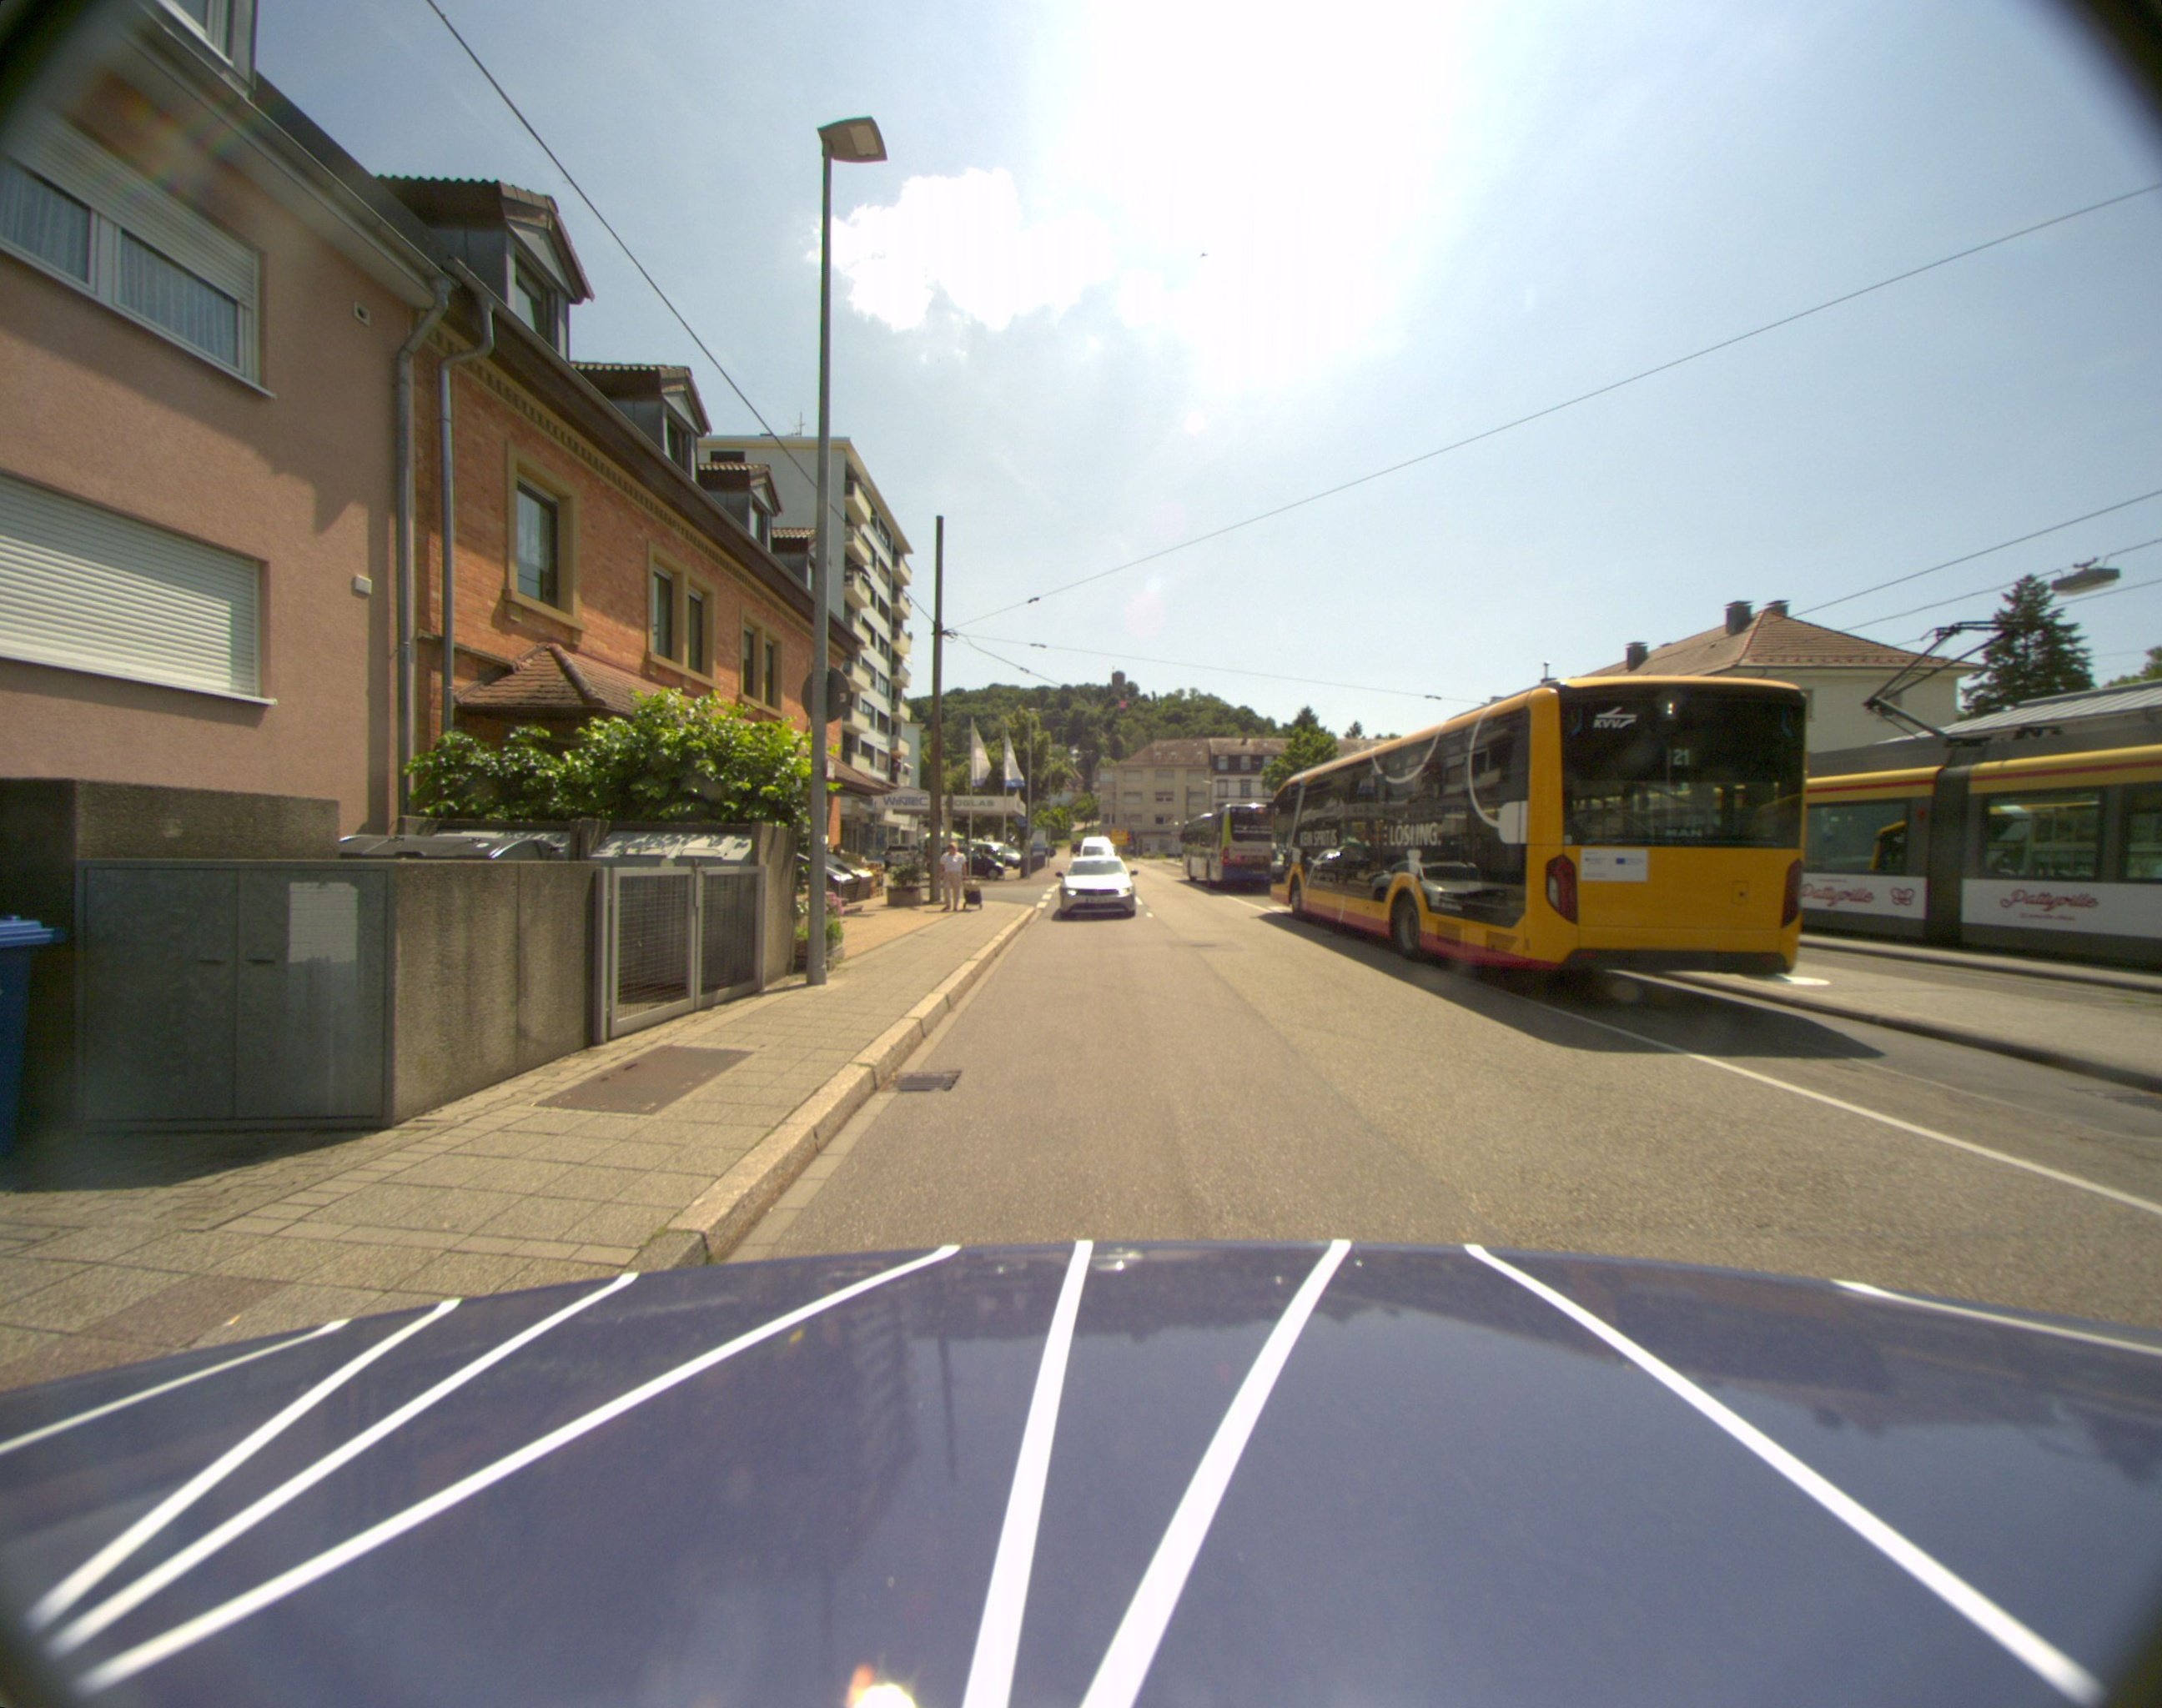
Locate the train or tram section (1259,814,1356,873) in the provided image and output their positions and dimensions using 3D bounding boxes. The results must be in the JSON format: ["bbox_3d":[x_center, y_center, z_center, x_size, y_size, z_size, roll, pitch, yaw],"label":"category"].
[{"bbox_3d":[15.136,-0.735,52.099,2.970,3.475,12.711,-1,1,1],"label":"train or tram section"}]

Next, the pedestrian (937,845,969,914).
[{"bbox_3d":[-3.066,0.608,18.287,0.707,1.632,0.659,2,0,-8],"label":"pedestrian"}]

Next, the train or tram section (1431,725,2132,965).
[{"bbox_3d":[14.746,-0.257,20.346,2.970,3.622,17.349,-1,1,1],"label":"train or tram section"}]

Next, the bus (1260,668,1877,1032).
[{"bbox_3d":[5.845,-0.205,12.980,2.905,3.229,12.193,-1,2,1],"label":"bus"}]

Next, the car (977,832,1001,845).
[{"bbox_3d":[-15.487,-2.605,128.341,2.398,2.002,5.384,-1,2,12],"label":"car"}]

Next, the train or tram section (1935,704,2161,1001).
[{"bbox_3d":[14.565,0.020,4.714,2.970,3.622,13.992,-1,1,1],"label":"train or tram section"}]

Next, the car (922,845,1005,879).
[{"bbox_3d":[-5.752,0.376,36.981,3.890,1.534,1.840,0,2,-12],"label":"car"}]

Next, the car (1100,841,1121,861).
[{"bbox_3d":[2.814,-0.323,73.237,1.708,1.840,4.710,-1,2,-2],"label":"car"}]

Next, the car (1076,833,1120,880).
[{"bbox_3d":[0.841,0.042,40.478,1.999,2.259,5.442,-1,2,-2],"label":"car"}]

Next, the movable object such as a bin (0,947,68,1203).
[{"bbox_3d":[-4.816,0.945,3.013,0.623,1.039,0.667,-1,2,0],"label":"movable object such as a bin"}]

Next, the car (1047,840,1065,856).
[{"bbox_3d":[-3.140,-0.779,96.171,1.998,2.002,3.999,-1,2,1],"label":"car"}]

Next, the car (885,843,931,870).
[{"bbox_3d":[-10.888,0.122,48.138,1.750,1.617,4.705,0,1,2],"label":"car"}]

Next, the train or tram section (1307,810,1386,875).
[{"bbox_3d":[15.119,-0.647,43.654,2.971,3.475,4.417,1,1,1],"label":"train or tram section"}]

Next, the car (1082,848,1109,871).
[{"bbox_3d":[1.108,0.396,58.863,1.998,1.609,3.999,-1,2,1],"label":"car"}]

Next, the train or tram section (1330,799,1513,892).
[{"bbox_3d":[15.013,-0.421,35.215,2.970,3.475,12.655,-1,1,1],"label":"train or tram section"}]

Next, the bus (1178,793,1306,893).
[{"bbox_3d":[6.381,-0.366,32.451,2.915,3.407,12.039,-1,0,0],"label":"bus"}]

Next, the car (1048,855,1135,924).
[{"bbox_3d":[0.375,0.770,18.530,1.817,1.371,4.392,0,1,5],"label":"car"}]

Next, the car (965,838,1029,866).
[{"bbox_3d":[-5.776,-0.124,51.936,4.277,1.780,1.826,0,3,40],"label":"car"}]
